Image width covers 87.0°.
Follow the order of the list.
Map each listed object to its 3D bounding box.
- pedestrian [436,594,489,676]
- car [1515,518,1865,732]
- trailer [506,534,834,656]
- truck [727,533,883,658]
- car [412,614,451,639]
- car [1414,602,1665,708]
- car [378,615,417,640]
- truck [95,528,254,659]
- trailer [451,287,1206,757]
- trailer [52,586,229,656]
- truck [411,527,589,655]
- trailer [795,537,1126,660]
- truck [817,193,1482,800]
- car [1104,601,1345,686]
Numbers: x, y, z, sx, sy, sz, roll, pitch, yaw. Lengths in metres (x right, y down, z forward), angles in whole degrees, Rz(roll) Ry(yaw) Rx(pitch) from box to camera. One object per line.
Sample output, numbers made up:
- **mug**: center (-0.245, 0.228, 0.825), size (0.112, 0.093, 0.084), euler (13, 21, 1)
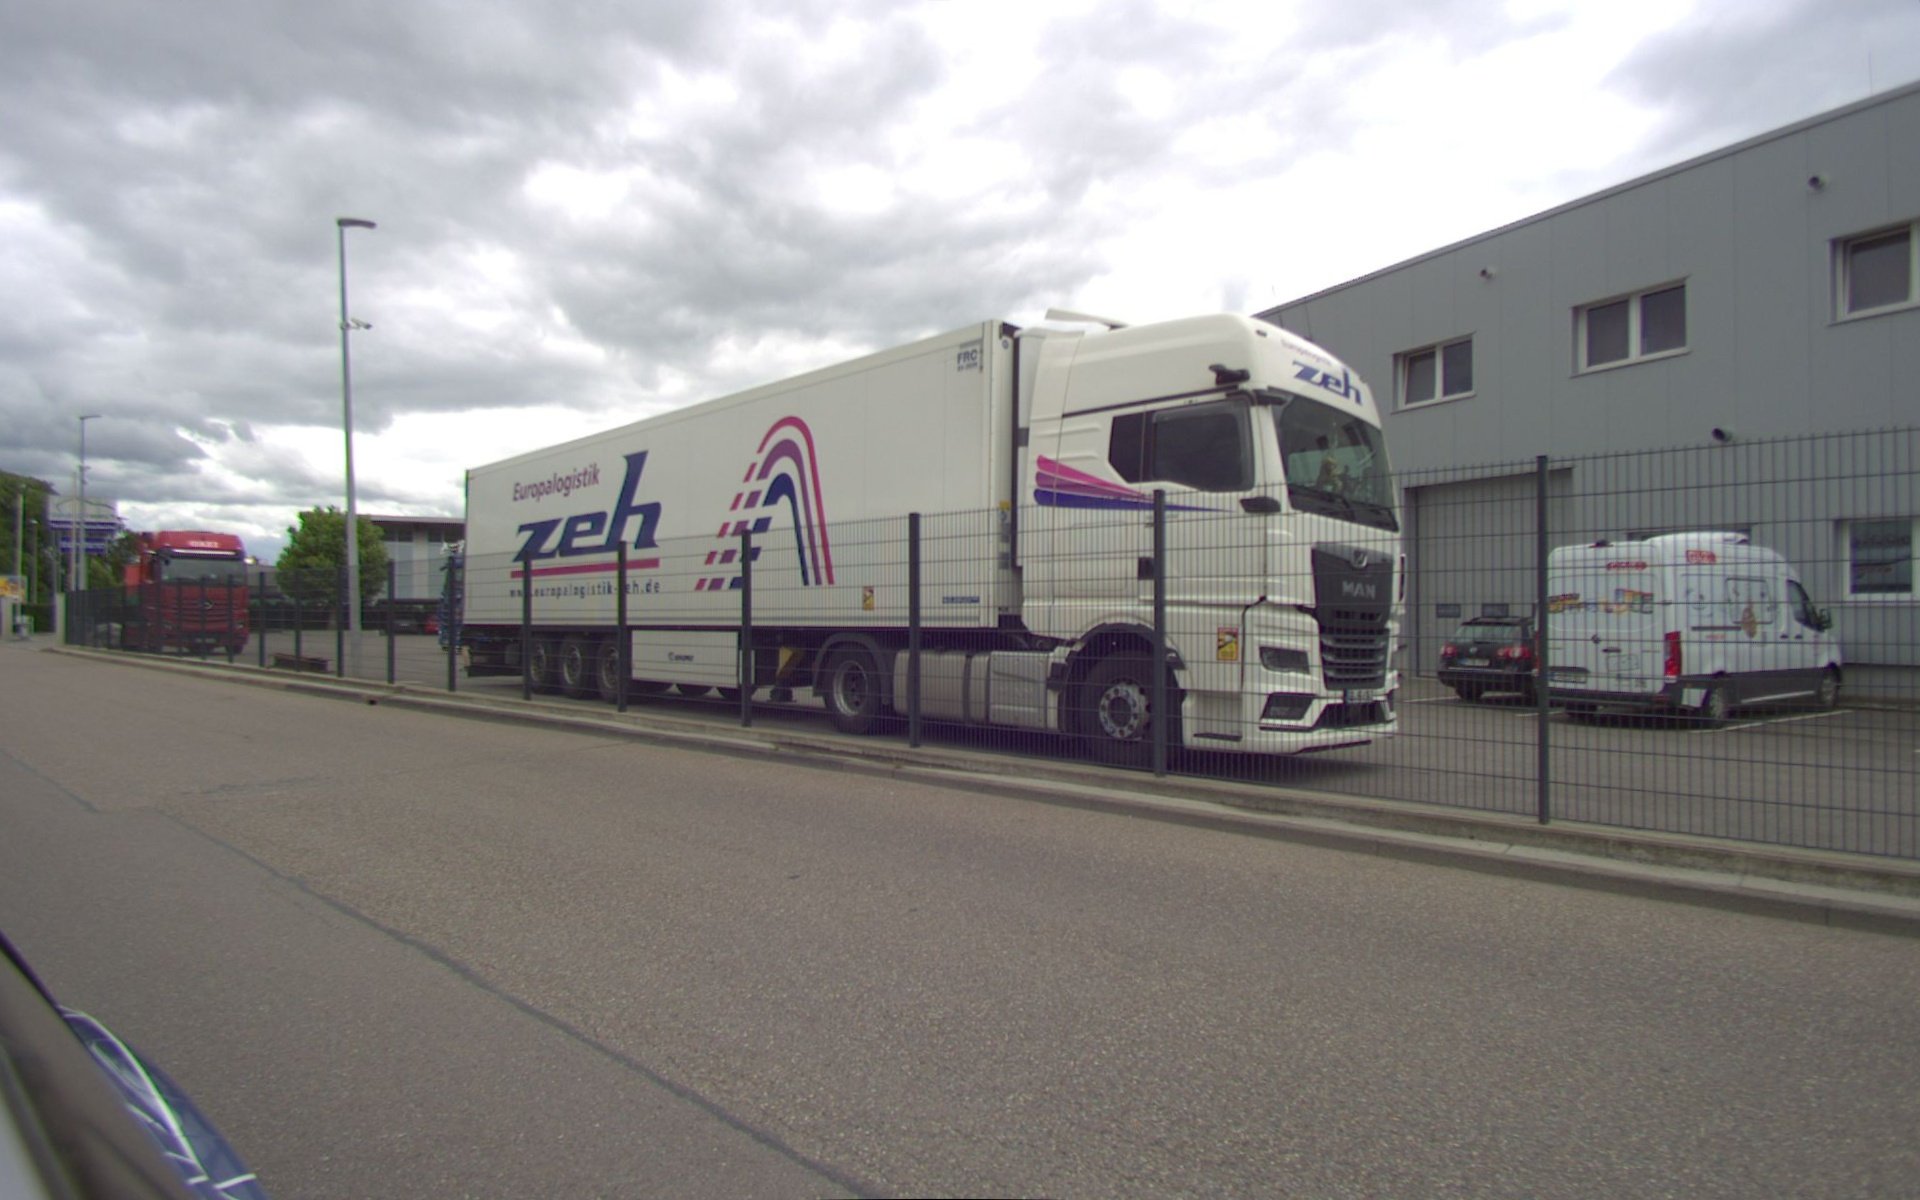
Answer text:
- **pedestrian**: center (-11.465, 0.791, 23.321), size (0.879, 1.834, 0.795), euler (-1, -1, 38)
- **car**: center (11.113, 0.280, 15.315), size (5.341, 2.751, 2.248), euler (-1, -1, -30)
- **trailer**: center (-11.041, 0.027, 39.554), size (11.841, 4.164, 3.057), euler (2, -3, -31)
- **truck**: center (-5.659, -0.052, 36.793), size (4.797, 4.237, 3.058), euler (2, -2, -27)
- **car**: center (-38.438, 1.932, 73.619), size (1.967, 1.730, 4.009), euler (0, -1, -36)
- **car**: center (10.246, 0.893, 17.877), size (4.010, 1.589, 1.950), euler (-2, 0, -28)
- **car**: center (-39.825, 1.919, 71.630), size (1.967, 1.730, 4.009), euler (0, -1, -36)
- **truck**: center (-25.708, -0.105, 33.057), size (5.668, 3.878, 2.982), euler (-1, -3, 41)
- **trailer**: center (-3.307, -0.551, 15.072), size (13.855, 4.192, 3.321), euler (-1, -3, 45)
- **trailer**: center (-30.146, 0.787, 36.928), size (12.043, 2.209, 3.006), euler (-1, -3, 42)
- **truck**: center (-16.148, -0.186, 35.699), size (3.047, 4.164, 4.814), euler (-1, -3, 42)
- **trailer**: center (0.293, 0.150, 39.796), size (12.962, 4.245, 3.058), euler (2, -2, -27)
- **truck**: center (1.651, -0.631, 10.129), size (5.630, 4.192, 3.321), euler (-1, -3, 45)
- **car**: center (6.258, 1.004, 23.740), size (5.595, 1.823, 1.950), euler (1, -2, -28)
